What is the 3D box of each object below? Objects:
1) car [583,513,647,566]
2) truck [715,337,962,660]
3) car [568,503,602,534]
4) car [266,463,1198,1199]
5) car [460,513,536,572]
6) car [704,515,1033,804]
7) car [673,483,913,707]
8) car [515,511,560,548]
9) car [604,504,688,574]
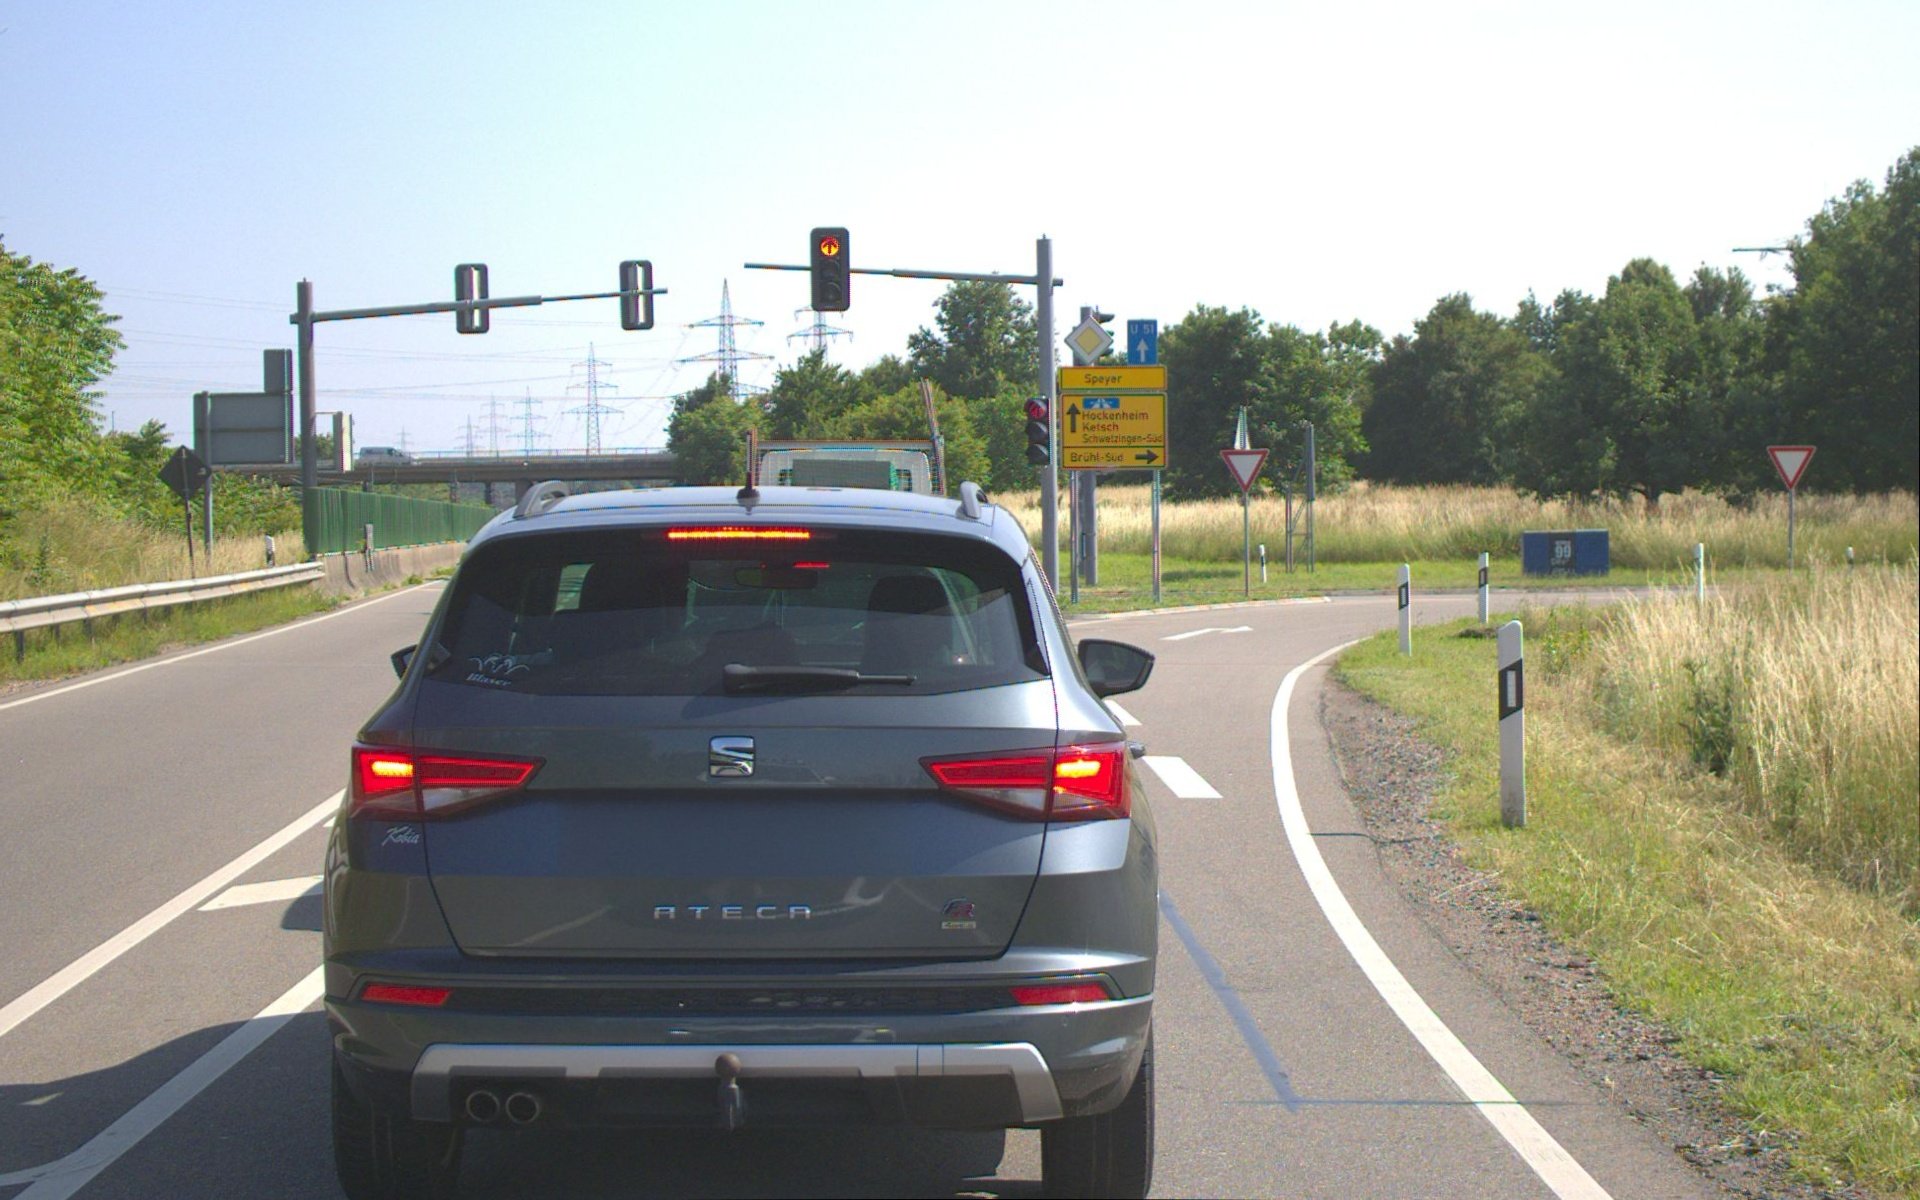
[{"bbox_3d":[-9.271,-1.645,92.355,1.684,1.375,3.534,0,2,-6],"label":"car"},{"bbox_3d":[-1.241,-1.005,35.455,2.337,3.055,5.810,0,1,-2],"label":"truck"},{"bbox_3d":[-24.407,-5.296,223.739,1.963,1.945,4.999,-1,2,-8],"label":"car"},{"bbox_3d":[-0.539,0.493,8.665,1.785,1.623,4.001,-1,2,-3],"label":"car"},{"bbox_3d":[-11.839,-1.491,88.281,1.824,1.426,4.001,-1,2,-7],"label":"car"},{"bbox_3d":[-0.607,0.275,20.884,1.785,1.538,4.001,-1,2,-3],"label":"car"},{"bbox_3d":[-1.359,-0.101,27.880,1.785,1.670,4.001,-1,2,-3],"label":"car"},{"bbox_3d":[-17.067,-2.872,139.042,1.761,1.426,4.001,-1,2,-7],"label":"car"},{"bbox_3d":[-7.270,-1.426,79.309,1.816,1.535,4.001,-1,2,-6],"label":"car"}]
